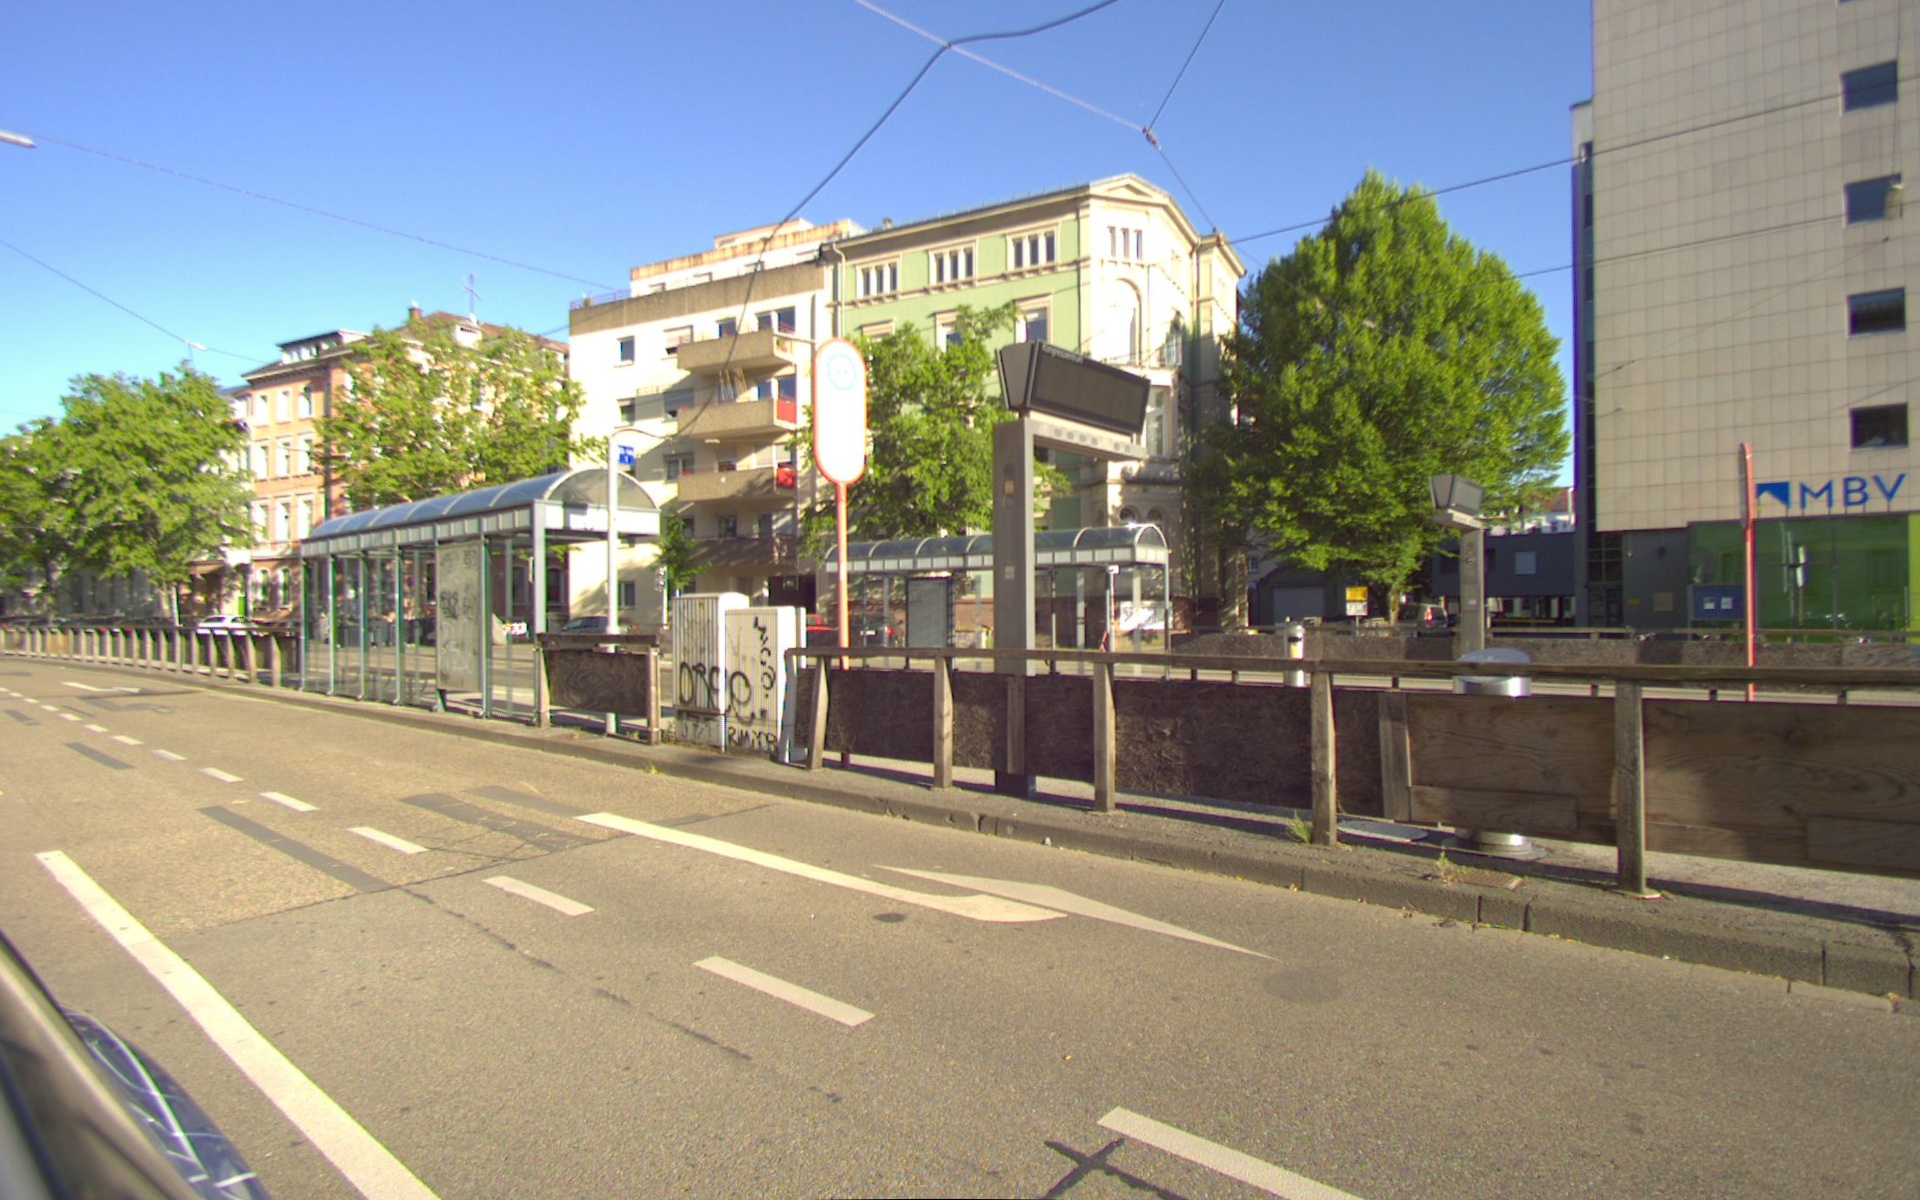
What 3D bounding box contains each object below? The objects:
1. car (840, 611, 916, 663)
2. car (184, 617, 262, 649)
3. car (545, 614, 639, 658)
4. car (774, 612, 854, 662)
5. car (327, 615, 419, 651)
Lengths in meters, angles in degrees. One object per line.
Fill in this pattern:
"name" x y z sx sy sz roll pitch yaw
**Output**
"car" -2.655 1.186 33.372 1.614 1.579 3.588 -1 0 11
"car" -39.405 1.740 54.215 1.607 1.579 3.601 -1 0 -2
"car" -14.040 1.334 38.521 3.592 1.579 1.612 -1 0 35
"car" -4.928 1.216 34.568 1.614 1.579 3.588 -1 0 11
"car" -28.405 1.560 49.057 1.626 1.579 3.560 -1 0 33
